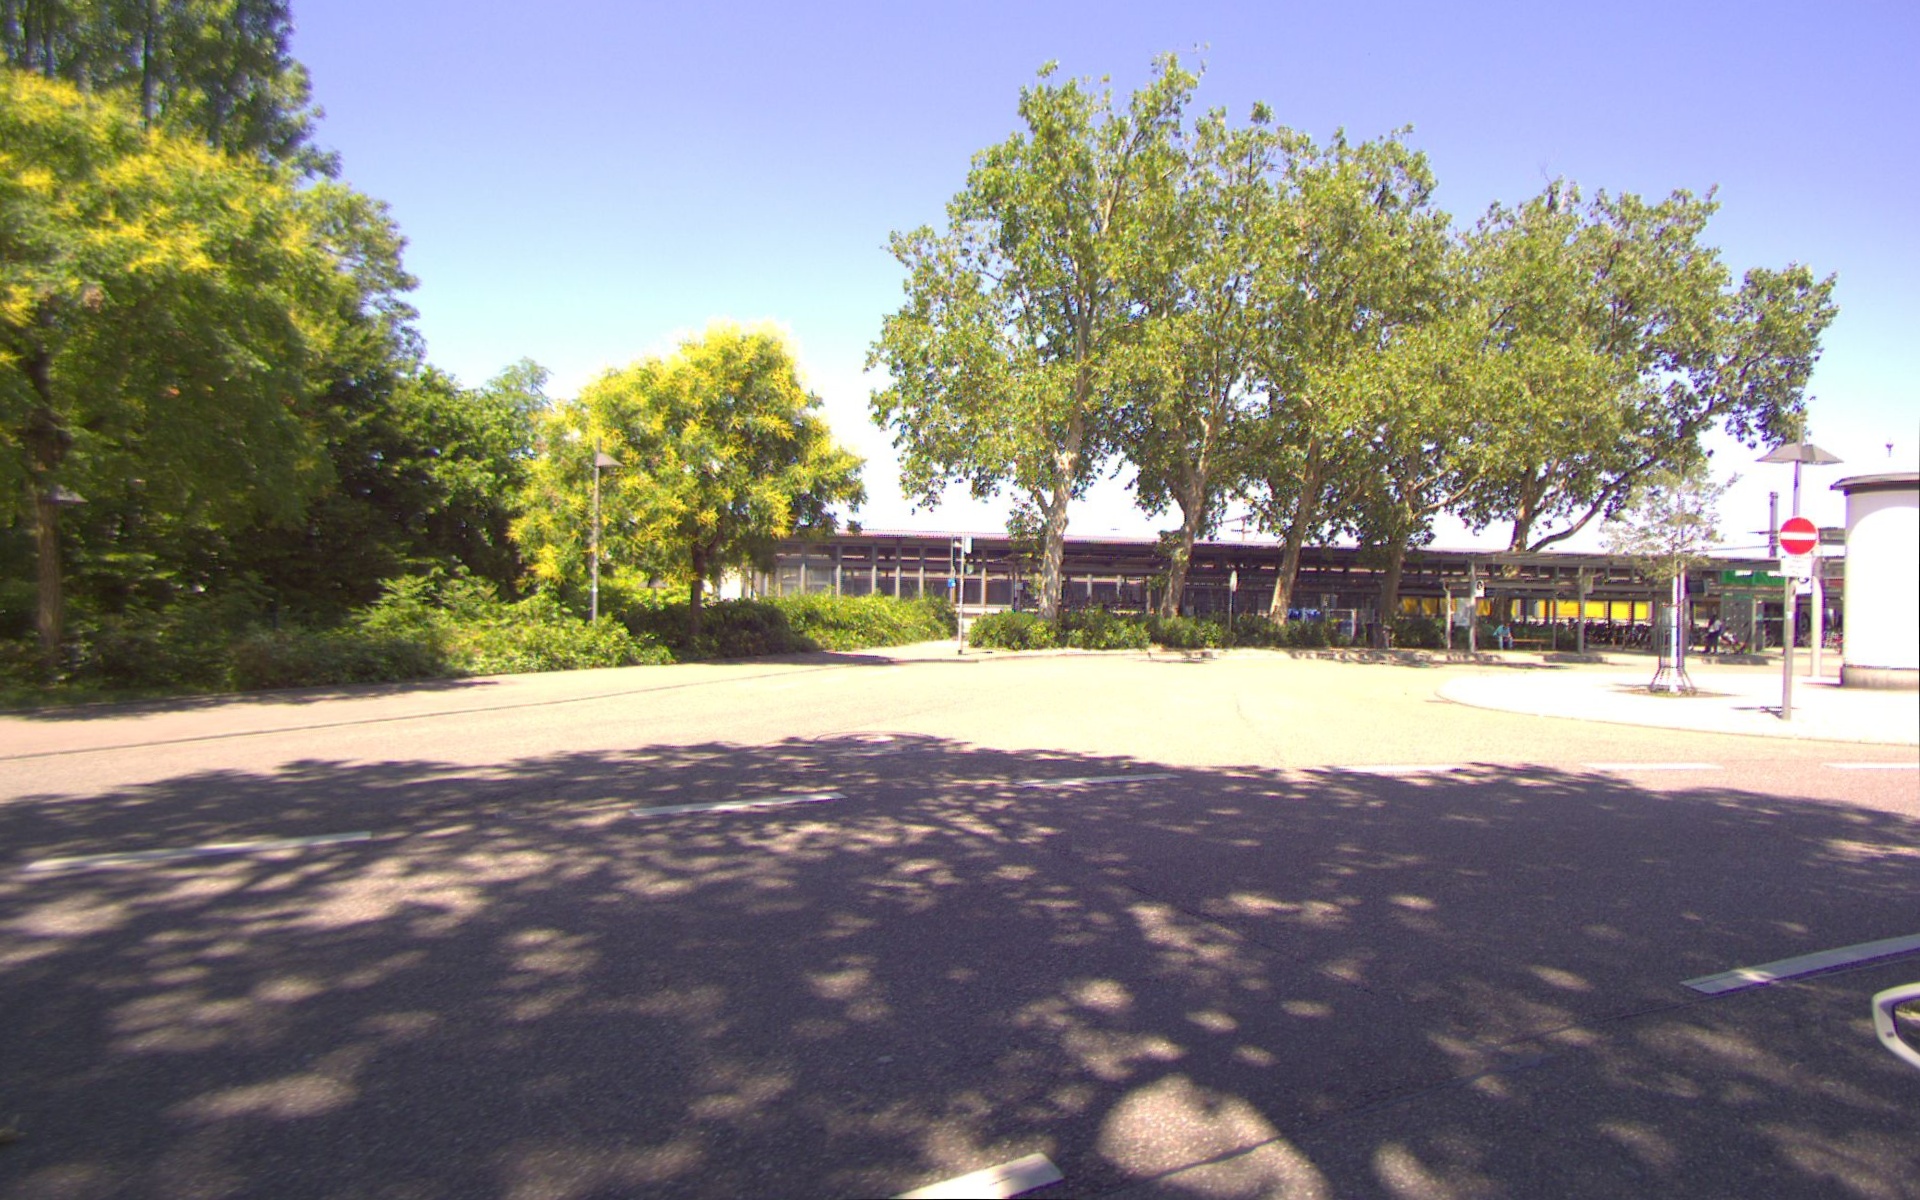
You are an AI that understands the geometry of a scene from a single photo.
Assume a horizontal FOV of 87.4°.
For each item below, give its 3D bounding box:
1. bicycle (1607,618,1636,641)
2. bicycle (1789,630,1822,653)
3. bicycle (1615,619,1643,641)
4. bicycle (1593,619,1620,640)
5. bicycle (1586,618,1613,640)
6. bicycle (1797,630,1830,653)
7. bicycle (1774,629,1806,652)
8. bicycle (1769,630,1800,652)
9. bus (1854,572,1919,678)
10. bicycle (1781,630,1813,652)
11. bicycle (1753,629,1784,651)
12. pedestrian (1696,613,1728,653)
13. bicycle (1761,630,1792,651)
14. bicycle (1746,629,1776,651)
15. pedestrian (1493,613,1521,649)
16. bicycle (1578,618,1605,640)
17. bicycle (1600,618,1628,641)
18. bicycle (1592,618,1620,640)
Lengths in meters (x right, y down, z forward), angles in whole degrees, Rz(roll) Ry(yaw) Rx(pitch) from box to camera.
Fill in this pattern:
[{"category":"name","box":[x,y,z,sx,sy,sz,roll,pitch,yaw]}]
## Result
[{"category":"bicycle","box":[33.841,1.513,51.382,0.379,1.108,1.384,3,-1,-7]},{"category":"bicycle","box":[43.472,2.124,51.658,0.379,1.108,1.384,1,-1,-7]},{"category":"bicycle","box":[34.246,1.532,51.429,0.379,1.108,1.384,3,-1,-7]},{"category":"bicycle","box":[34.062,1.548,52.927,0.379,1.108,1.384,3,-1,-7]},{"category":"bicycle","box":[33.646,1.528,52.871,0.379,1.108,1.384,3,-1,-7]},{"category":"bicycle","box":[43.930,2.136,51.710,0.379,1.108,1.384,1,-1,-7]},{"category":"bicycle","box":[42.552,2.070,51.514,0.360,1.114,1.404,3,-1,-7]},{"category":"bicycle","box":[43.726,2.163,53.300,0.379,1.108,1.384,1,0,-7]},{"category":"bus","box":[38.273,0.957,35.957,11.999,3.573,2.166,1,0,-9]},{"category":"bicycle","box":[42.970,2.103,51.578,0.379,1.108,1.384,1,-1,-7]},{"category":"bicycle","box":[42.790,2.130,53.185,0.379,1.108,1.384,1,-1,-7]},{"category":"pedestrian","box":[32.448,1.421,43.351,0.759,1.638,0.816,3,-1,-28]},{"category":"bicycle","box":[43.286,2.141,53.251,0.379,1.108,1.384,1,0,-7]},{"category":"bicycle","box":[42.367,2.104,53.140,0.379,1.108,1.384,1,-1,-7]},{"category":"pedestrian","box":[22.848,1.299,41.981,0.807,1.483,0.606,1,0,-12]},{"category":"bicycle","box":[33.225,1.507,52.824,0.379,1.108,1.384,3,-1,-7]},{"category":"bicycle","box":[33.441,1.493,51.353,0.379,1.108,1.384,3,-1,-7]},{"category":"bicycle","box":[32.984,1.472,51.333,0.379,1.108,1.384,3,-1,-7]}]
